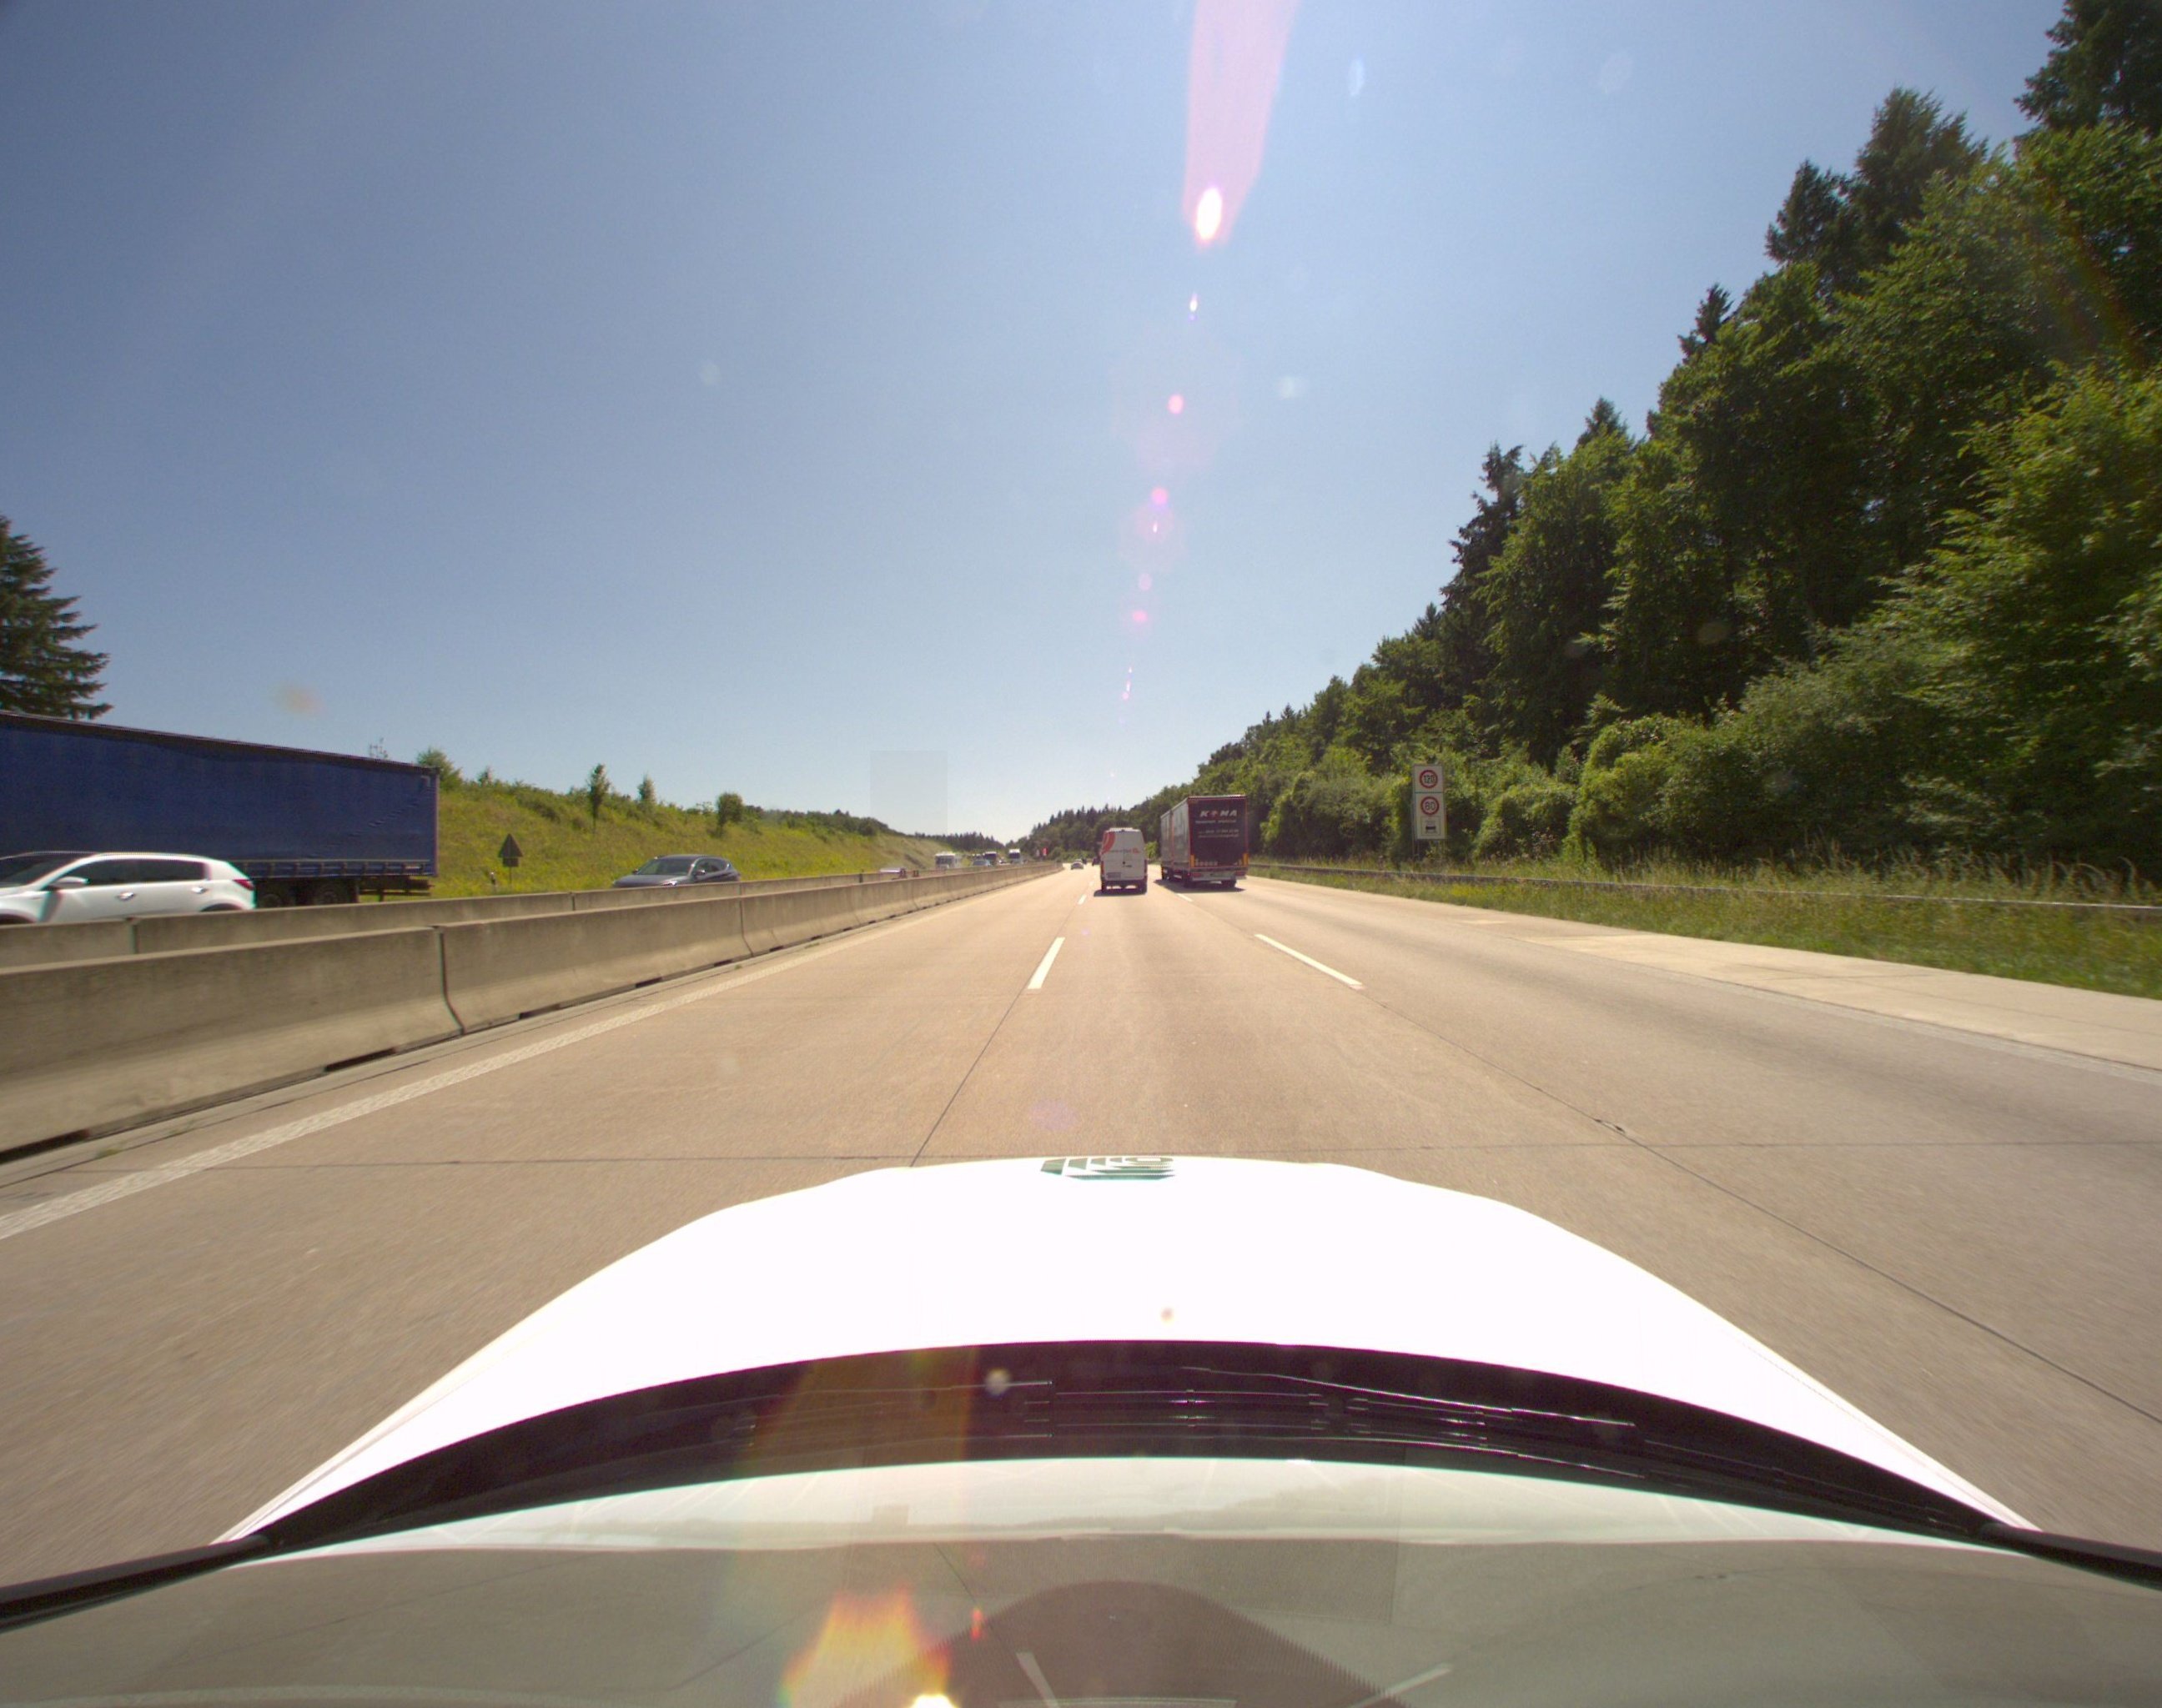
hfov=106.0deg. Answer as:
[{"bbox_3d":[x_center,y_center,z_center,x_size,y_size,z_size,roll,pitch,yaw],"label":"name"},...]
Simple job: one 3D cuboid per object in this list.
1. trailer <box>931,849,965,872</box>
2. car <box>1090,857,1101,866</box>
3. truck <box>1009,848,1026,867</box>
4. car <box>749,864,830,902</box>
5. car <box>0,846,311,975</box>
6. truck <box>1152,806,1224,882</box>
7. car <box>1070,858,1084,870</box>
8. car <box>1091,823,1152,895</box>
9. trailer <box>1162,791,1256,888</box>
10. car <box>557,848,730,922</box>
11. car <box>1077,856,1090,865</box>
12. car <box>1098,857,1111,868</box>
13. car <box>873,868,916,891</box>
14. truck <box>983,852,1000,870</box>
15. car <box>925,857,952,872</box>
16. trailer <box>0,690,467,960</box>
[{"bbox_3d":[-16.225,0.759,99.911,2.596,2.631,7.784,-1,0,2],"label":"trailer"},{"bbox_3d":[2.977,1.471,162.724,1.985,1.684,4.004,0,-1,4],"label":"car"},{"bbox_3d":[-13.779,0.795,177.157,3.151,3.932,5.834,0,-1,-1],"label":"truck"},{"bbox_3d":[-12.667,1.237,35.644,1.986,1.519,4.002,-1,0,2],"label":"car"},{"bbox_3d":[-15.040,0.753,12.370,1.986,1.692,4.818,0,0,2],"label":"car"},{"bbox_3d":[6.211,-0.501,49.172,3.148,4.017,10.611,-2,0,2],"label":"truck"},{"bbox_3d":[-0.540,1.502,119.711,1.987,1.684,3.999,0,-1,0],"label":"car"},{"bbox_3d":[1.692,0.200,35.733,2.220,2.844,5.451,-2,0,-1],"label":"car"},{"bbox_3d":[5.923,-0.578,39.313,3.124,4.017,9.089,-2,-1,1],"label":"trailer"},{"bbox_3d":[-11.056,0.718,21.008,1.986,1.692,4.373,0,0,2],"label":"car"},{"bbox_3d":[0.477,1.234,158.832,1.991,1.684,3.991,0,-1,-6],"label":"car"},{"bbox_3d":[3.741,1.359,130.821,1.985,1.684,4.002,0,-1,2],"label":"car"},{"bbox_3d":[-13.803,1.831,60.424,1.986,1.558,4.500,-1,0,2],"label":"car"},{"bbox_3d":[-17.757,1.417,161.607,2.715,3.413,4.513,0,-1,1],"label":"truck"},{"bbox_3d":[-16.256,1.205,93.276,1.986,1.659,5.376,-1,0,2],"label":"car"},{"bbox_3d":[-19.303,-0.432,16.077,3.374,4.431,13.929,0,-1,2],"label":"trailer"}]
